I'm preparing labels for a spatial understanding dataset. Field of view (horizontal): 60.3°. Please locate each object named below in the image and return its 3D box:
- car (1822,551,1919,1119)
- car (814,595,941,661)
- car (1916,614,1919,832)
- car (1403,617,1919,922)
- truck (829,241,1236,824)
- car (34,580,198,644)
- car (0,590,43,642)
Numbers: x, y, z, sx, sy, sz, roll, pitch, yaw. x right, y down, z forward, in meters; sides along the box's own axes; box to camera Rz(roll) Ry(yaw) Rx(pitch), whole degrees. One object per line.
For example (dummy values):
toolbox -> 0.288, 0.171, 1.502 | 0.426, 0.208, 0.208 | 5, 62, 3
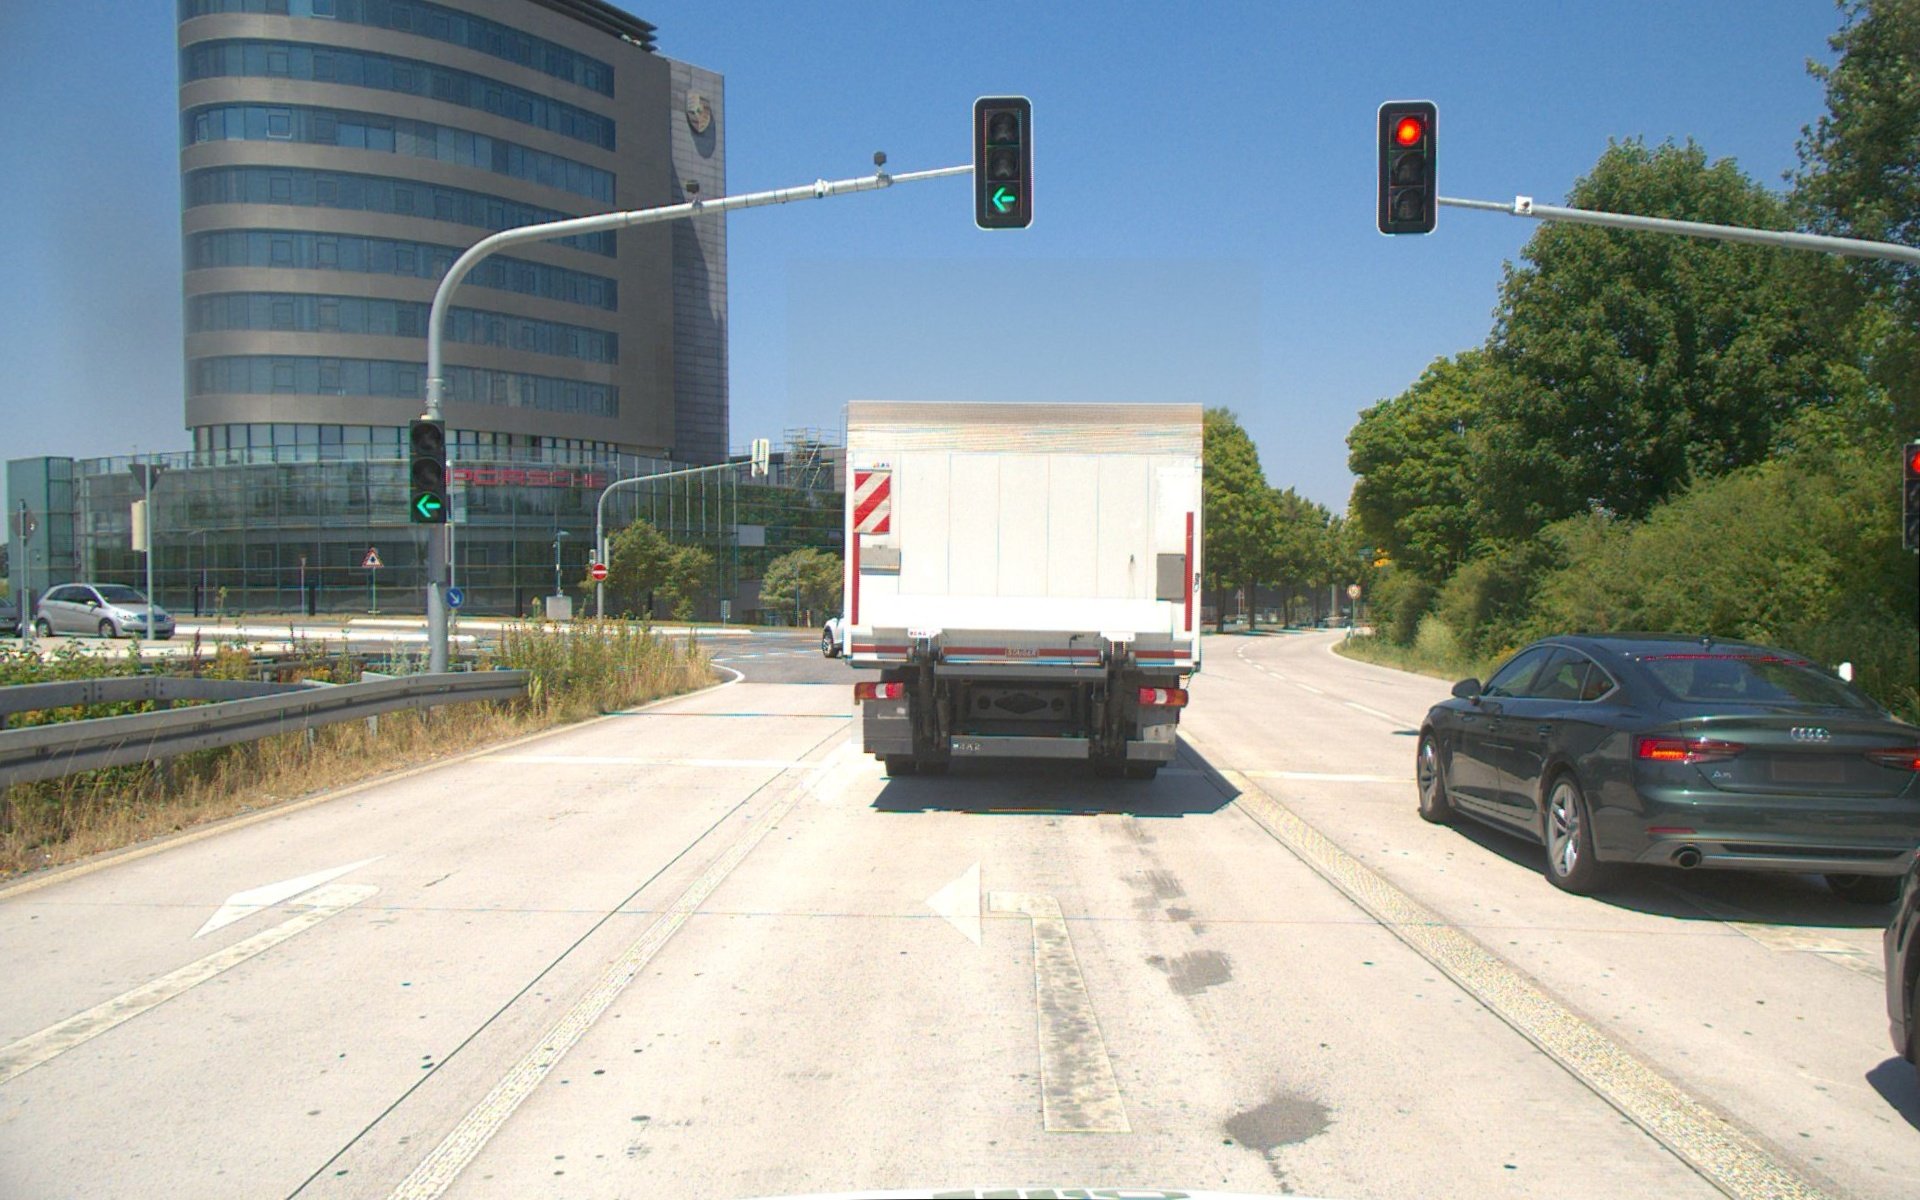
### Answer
car -> 3.729, 0.692, 3.099 | 1.747, 1.668, 4.646 | 1, 0, -1
car -> -2.144, 0.678, 41.825 | 1.780, 1.584, 3.966 | 1, -1, -26
car -> 7.701, 0.867, 9.904 | 1.732, 1.536, 3.649 | 1, 0, -3
car -> 4.201, 0.846, 10.296 | 1.731, 1.435, 4.610 | 1, 0, 1
truck -> 0.633, -0.430, 15.926 | 2.712, 3.927, 9.372 | 1, 0, 2
car -> -23.004, 0.359, 45.067 | 4.230, 1.623, 1.775 | -1, -2, 26
car -> -29.370, 0.507, 49.468 | 4.240, 1.482, 1.692 | -2, -2, 35
